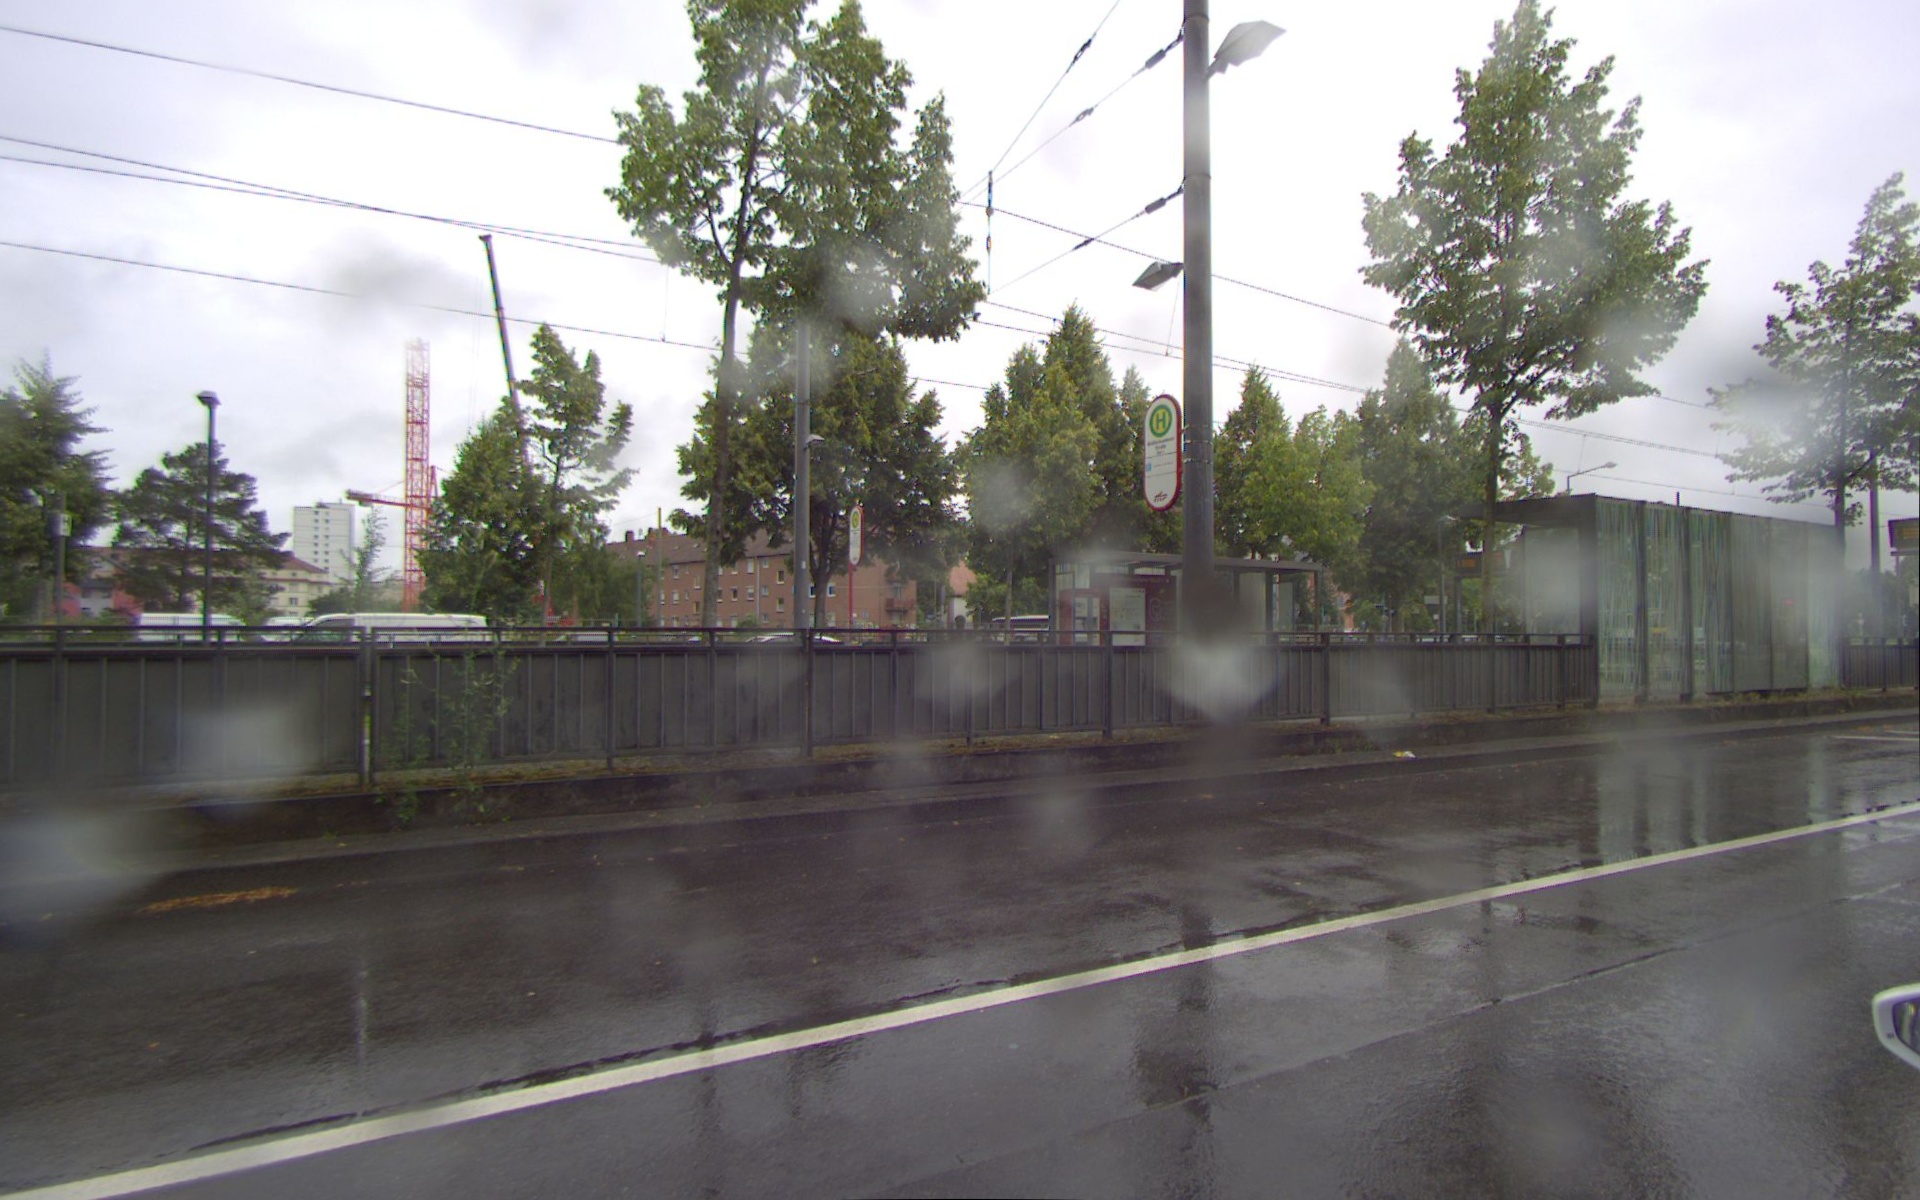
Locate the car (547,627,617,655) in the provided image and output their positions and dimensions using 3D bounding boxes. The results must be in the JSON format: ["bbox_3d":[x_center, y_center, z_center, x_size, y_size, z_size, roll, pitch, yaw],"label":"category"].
[{"bbox_3d":[-27.210,2.973,72.436,4.383,1.902,1.858,2,0,-36],"label":"car"}]

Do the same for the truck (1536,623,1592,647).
[{"bbox_3d":[54.948,3.149,91.386,3.922,2.040,1.836,2,0,-2],"label":"truck"}]

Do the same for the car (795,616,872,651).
[{"bbox_3d":[-9.554,2.536,76.175,5.438,2.485,1.981,2,0,-34],"label":"car"}]

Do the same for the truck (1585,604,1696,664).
[{"bbox_3d":[47.105,2.248,69.889,2.641,3.828,9.188,2,0,9],"label":"truck"}]

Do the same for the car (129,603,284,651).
[{"bbox_3d":[-41.407,1.505,55.477,6.677,2.494,1.981,2,0,-34],"label":"car"}]

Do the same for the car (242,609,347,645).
[{"bbox_3d":[-41.625,1.701,62.988,5.364,2.079,1.982,2,0,-34],"label":"car"}]

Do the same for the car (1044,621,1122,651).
[{"bbox_3d":[9.710,2.857,79.571,6.001,2.308,1.618,0,-2,-17],"label":"car"}]

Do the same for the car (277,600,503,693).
[{"bbox_3d":[-11.990,0.957,21.296,3.955,1.770,1.983,2,0,-32],"label":"car"}]
